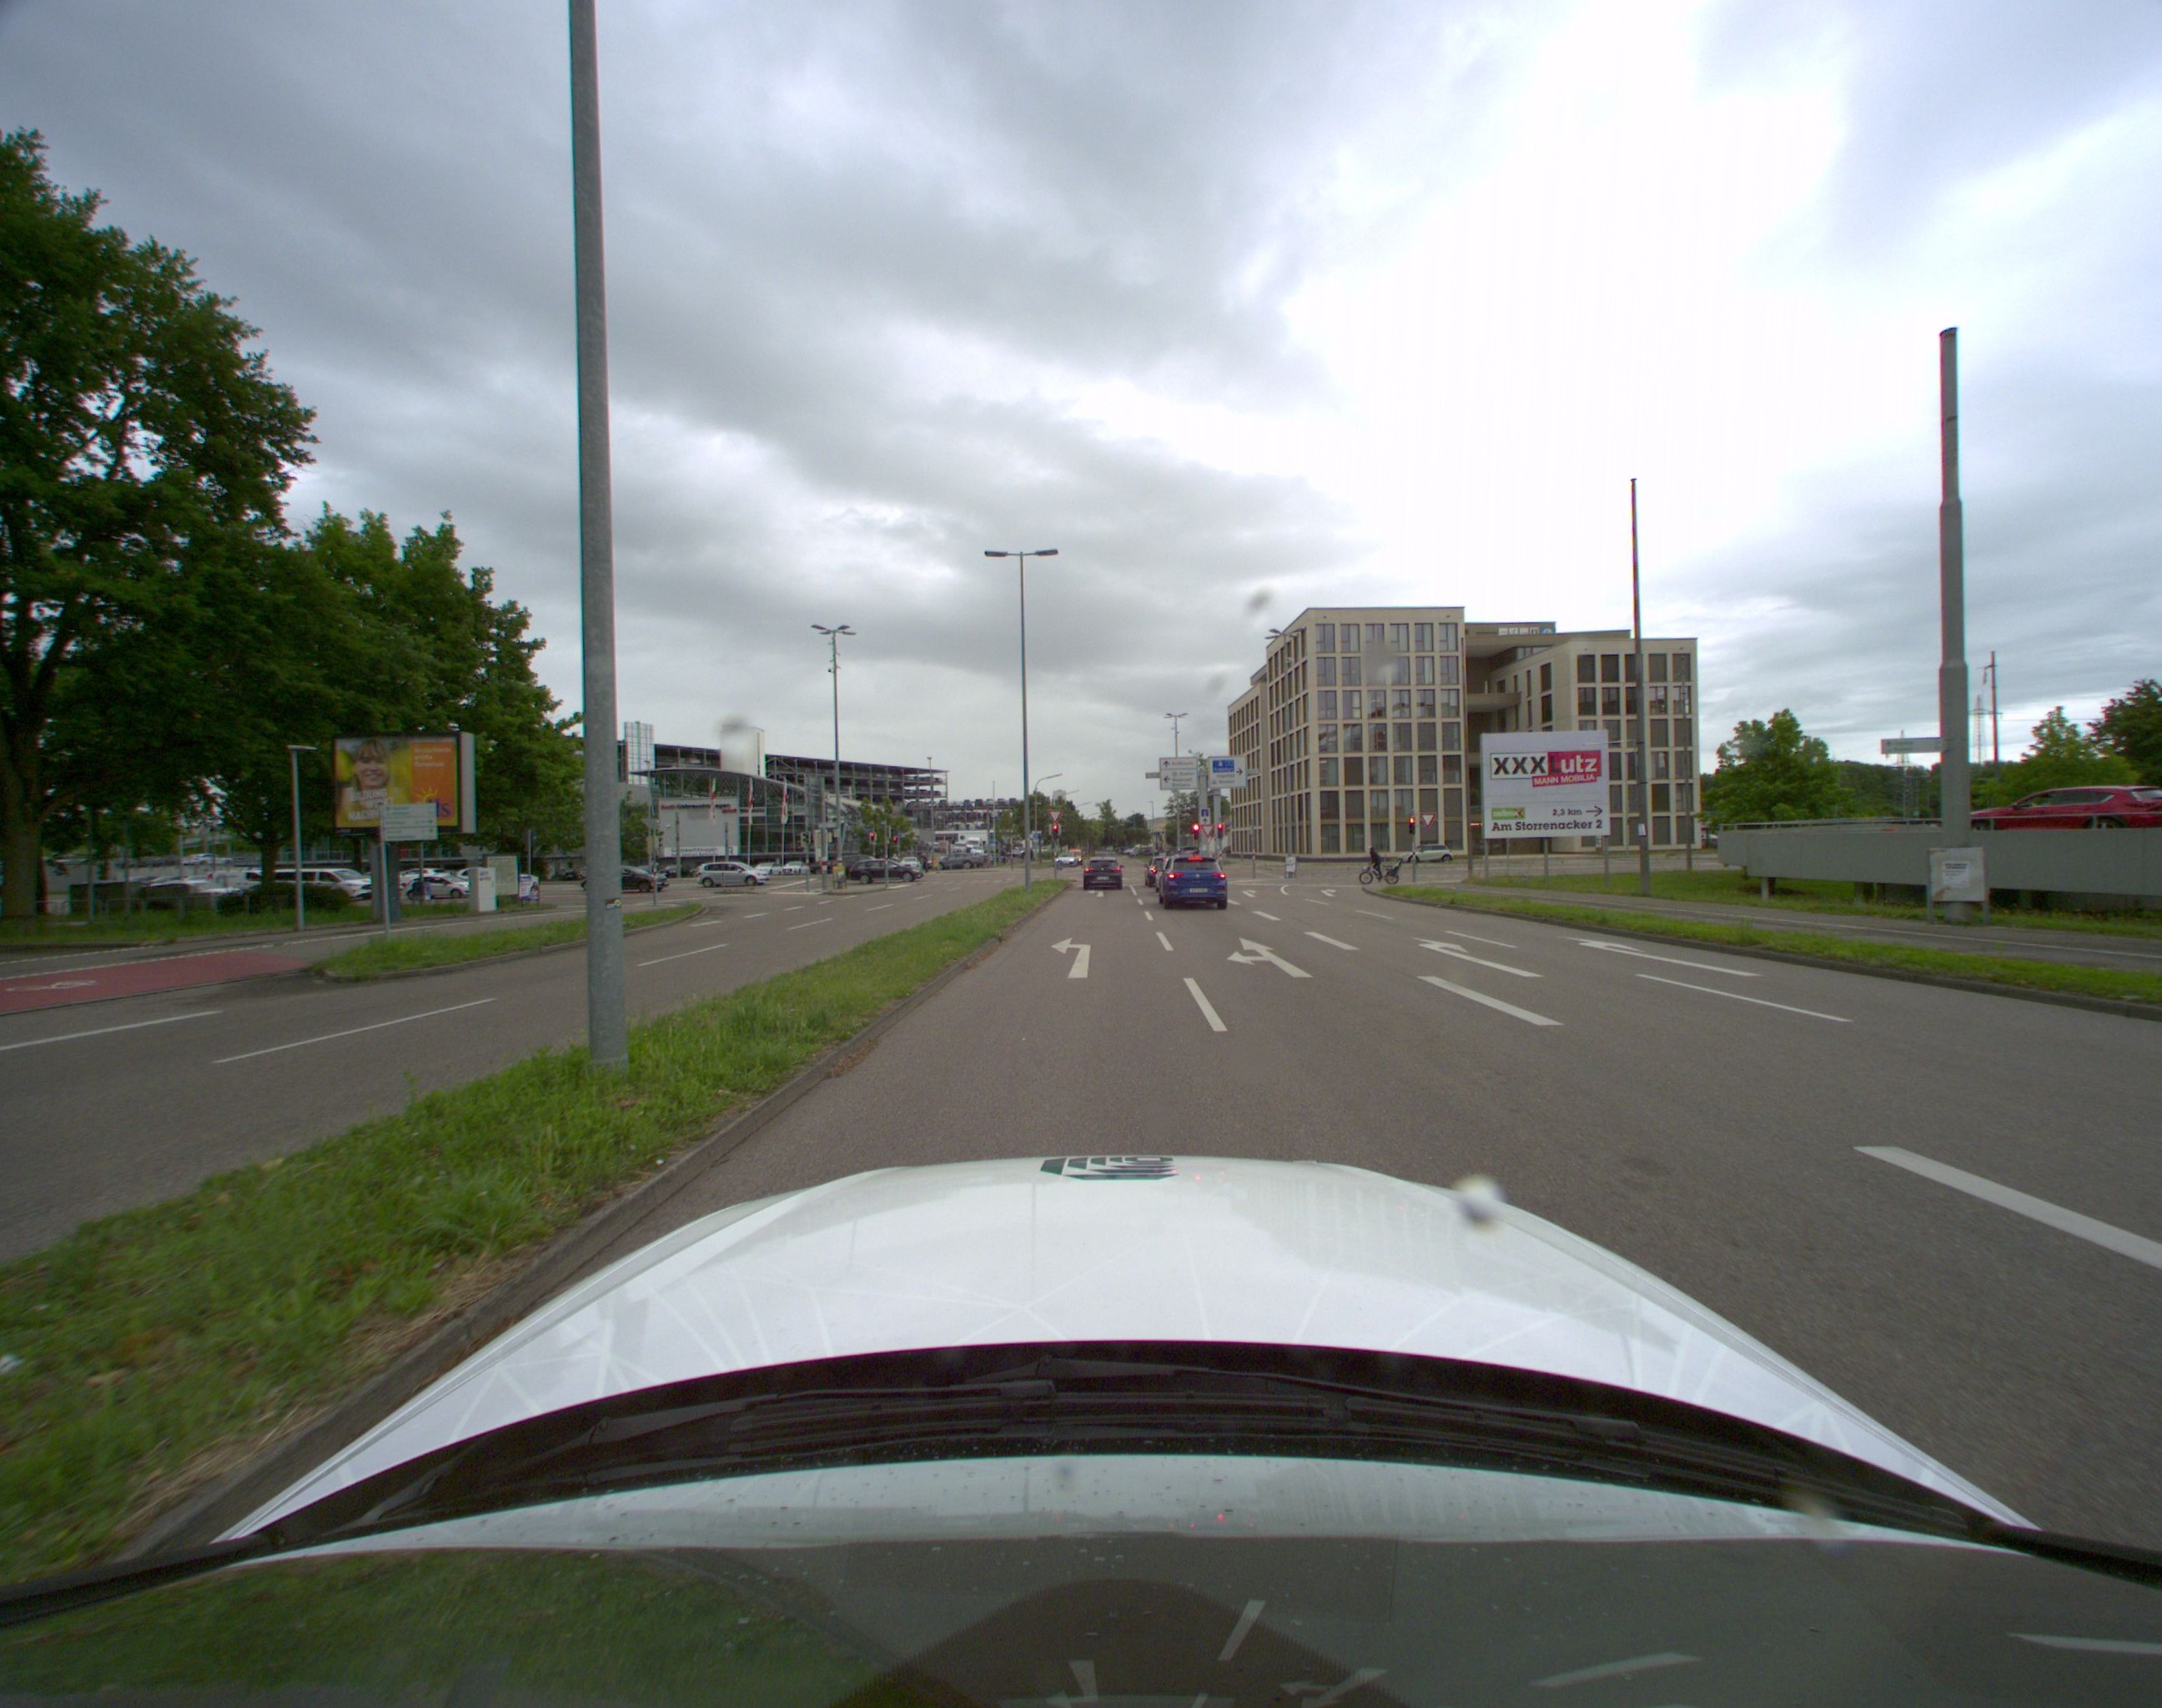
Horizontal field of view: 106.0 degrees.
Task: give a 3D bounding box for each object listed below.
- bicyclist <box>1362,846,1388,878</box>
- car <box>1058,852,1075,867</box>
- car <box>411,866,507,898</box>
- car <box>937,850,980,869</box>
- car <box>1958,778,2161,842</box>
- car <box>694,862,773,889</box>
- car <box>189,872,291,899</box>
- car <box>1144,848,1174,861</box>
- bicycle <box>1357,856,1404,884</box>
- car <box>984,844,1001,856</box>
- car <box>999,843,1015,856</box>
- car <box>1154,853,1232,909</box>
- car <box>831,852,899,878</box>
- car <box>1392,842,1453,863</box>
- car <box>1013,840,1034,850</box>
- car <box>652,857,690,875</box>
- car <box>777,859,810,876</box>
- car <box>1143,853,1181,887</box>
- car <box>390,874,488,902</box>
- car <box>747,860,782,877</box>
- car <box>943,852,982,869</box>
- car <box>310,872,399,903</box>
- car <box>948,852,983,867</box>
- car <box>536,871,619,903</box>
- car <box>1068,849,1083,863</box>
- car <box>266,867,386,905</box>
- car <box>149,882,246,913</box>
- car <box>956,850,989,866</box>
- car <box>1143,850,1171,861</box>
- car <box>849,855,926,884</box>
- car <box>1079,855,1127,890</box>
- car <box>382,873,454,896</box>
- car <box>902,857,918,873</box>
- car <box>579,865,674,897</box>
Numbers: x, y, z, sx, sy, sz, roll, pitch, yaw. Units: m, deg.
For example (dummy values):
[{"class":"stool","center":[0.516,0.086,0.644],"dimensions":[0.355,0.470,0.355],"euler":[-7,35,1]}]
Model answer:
[{"class":"bicyclist","center":[14.104,0.394,39.047],"dimensions":[0.987,1.504,0.707],"euler":[-1,0,39]},{"class":"car","center":[-1.453,0.556,84.737],"dimensions":[1.595,1.453,3.326],"euler":[-1,2,1]},{"class":"car","center":[-40.071,1.796,52.541],"dimensions":[4.425,1.711,1.998],"euler":[-1,4,-5]},{"class":"car","center":[-12.185,0.547,81.029],"dimensions":[3.979,1.790,1.845],"euler":[-1,2,-4]},{"class":"car","center":[28.885,-1.245,23.725],"dimensions":[1.835,1.679,4.250],"euler":[-2,2,-10]},{"class":"car","center":[-22.728,1.409,53.389],"dimensions":[4.242,1.509,1.996],"euler":[-1,2,-6]},{"class":"car","center":[-53.531,1.968,51.884],"dimensions":[4.218,1.504,1.992],"euler":[-1,1,-3]},{"class":"car","center":[10.151,0.065,106.073],"dimensions":[3.573,1.478,1.769],"euler":[-1,2,19]},{"class":"bicycle","center":[14.287,0.743,38.900],"dimensions":[1.985,1.295,0.707],"euler":[0,1,39]},{"class":"car","center":[-13.544,-0.656,124.992],"dimensions":[1.767,1.705,3.924],"euler":[-1,2,6]},{"class":"car","center":[-11.361,-0.704,125.011],"dimensions":[1.767,1.705,3.924],"euler":[-1,2,6]},{"class":"car","center":[3.268,0.749,24.416],"dimensions":[1.828,1.514,4.000],"euler":[0,0,1]},{"class":"car","center":[-15.179,0.742,57.525],"dimensions":[4.401,1.643,1.995],"euler":[-2,2,-9]},{"class":"car","center":[27.084,-0.143,64.689],"dimensions":[4.182,1.490,1.693],"euler":[-1,2,-2]},{"class":"car","center":[-9.558,-1.536,135.115],"dimensions":[3.287,1.640,1.479],"euler":[-1,2,-2]},{"class":"car","center":[-37.616,1.104,74.848],"dimensions":[1.592,1.485,3.537],"euler":[-1,2,1]},{"class":"car","center":[-26.598,1.226,75.429],"dimensions":[1.713,1.400,3.537],"euler":[-1,2,1]},{"class":"car","center":[3.806,0.728,38.625],"dimensions":[1.519,1.432,3.391],"euler":[-1,1,1]},{"class":"car","center":[-38.948,2.048,49.467],"dimensions":[4.218,1.512,1.992],"euler":[-1,1,-3]},{"class":"car","center":[-29.249,1.304,75.333],"dimensions":[1.713,1.400,3.537],"euler":[-1,2,1]},{"class":"car","center":[-12.141,0.677,83.724],"dimensions":[3.815,1.589,1.680],"euler":[-1,2,-4]},{"class":"car","center":[-45.959,2.120,51.567],"dimensions":[3.752,1.746,1.879],"euler":[-1,2,-3]},{"class":"car","center":[-12.439,0.614,87.992],"dimensions":[3.598,1.476,1.547],"euler":[-1,2,-4]},{"class":"car","center":[-32.815,2.126,53.194],"dimensions":[3.979,1.661,1.998],"euler":[-4,2,-4]},{"class":"car","center":[-0.587,0.244,92.873],"dimensions":[1.595,1.453,3.326],"euler":[-1,2,1]},{"class":"car","center":[-45.393,1.905,49.043],"dimensions":[5.120,1.963,1.879],"euler":[-1,3,-3]},{"class":"car","center":[-52.770,2.592,48.678],"dimensions":[3.843,1.651,1.732],"euler":[-1,2,0]},{"class":"car","center":[-12.181,0.419,91.696],"dimensions":[3.598,1.667,1.547],"euler":[-1,2,-4]},{"class":"car","center":[10.453,0.216,111.997],"dimensions":[3.572,1.478,1.769],"euler":[0,2,21]},{"class":"car","center":[-12.078,0.944,50.965],"dimensions":[4.410,1.660,1.996],"euler":[-1,0,-6]},{"class":"car","center":[0.941,0.794,37.004],"dimensions":[1.982,1.428,4.240],"euler":[-1,0,-1]},{"class":"car","center":[-51.725,2.386,63.559],"dimensions":[3.938,1.567,1.756],"euler":[-1,2,-7]},{"class":"car","center":[-15.959,0.993,76.011],"dimensions":[1.372,1.326,3.021],"euler":[-2,2,-13]},{"class":"car","center":[-27.720,1.623,49.820],"dimensions":[4.537,1.659,1.996],"euler":[-2,1,-6]}]
